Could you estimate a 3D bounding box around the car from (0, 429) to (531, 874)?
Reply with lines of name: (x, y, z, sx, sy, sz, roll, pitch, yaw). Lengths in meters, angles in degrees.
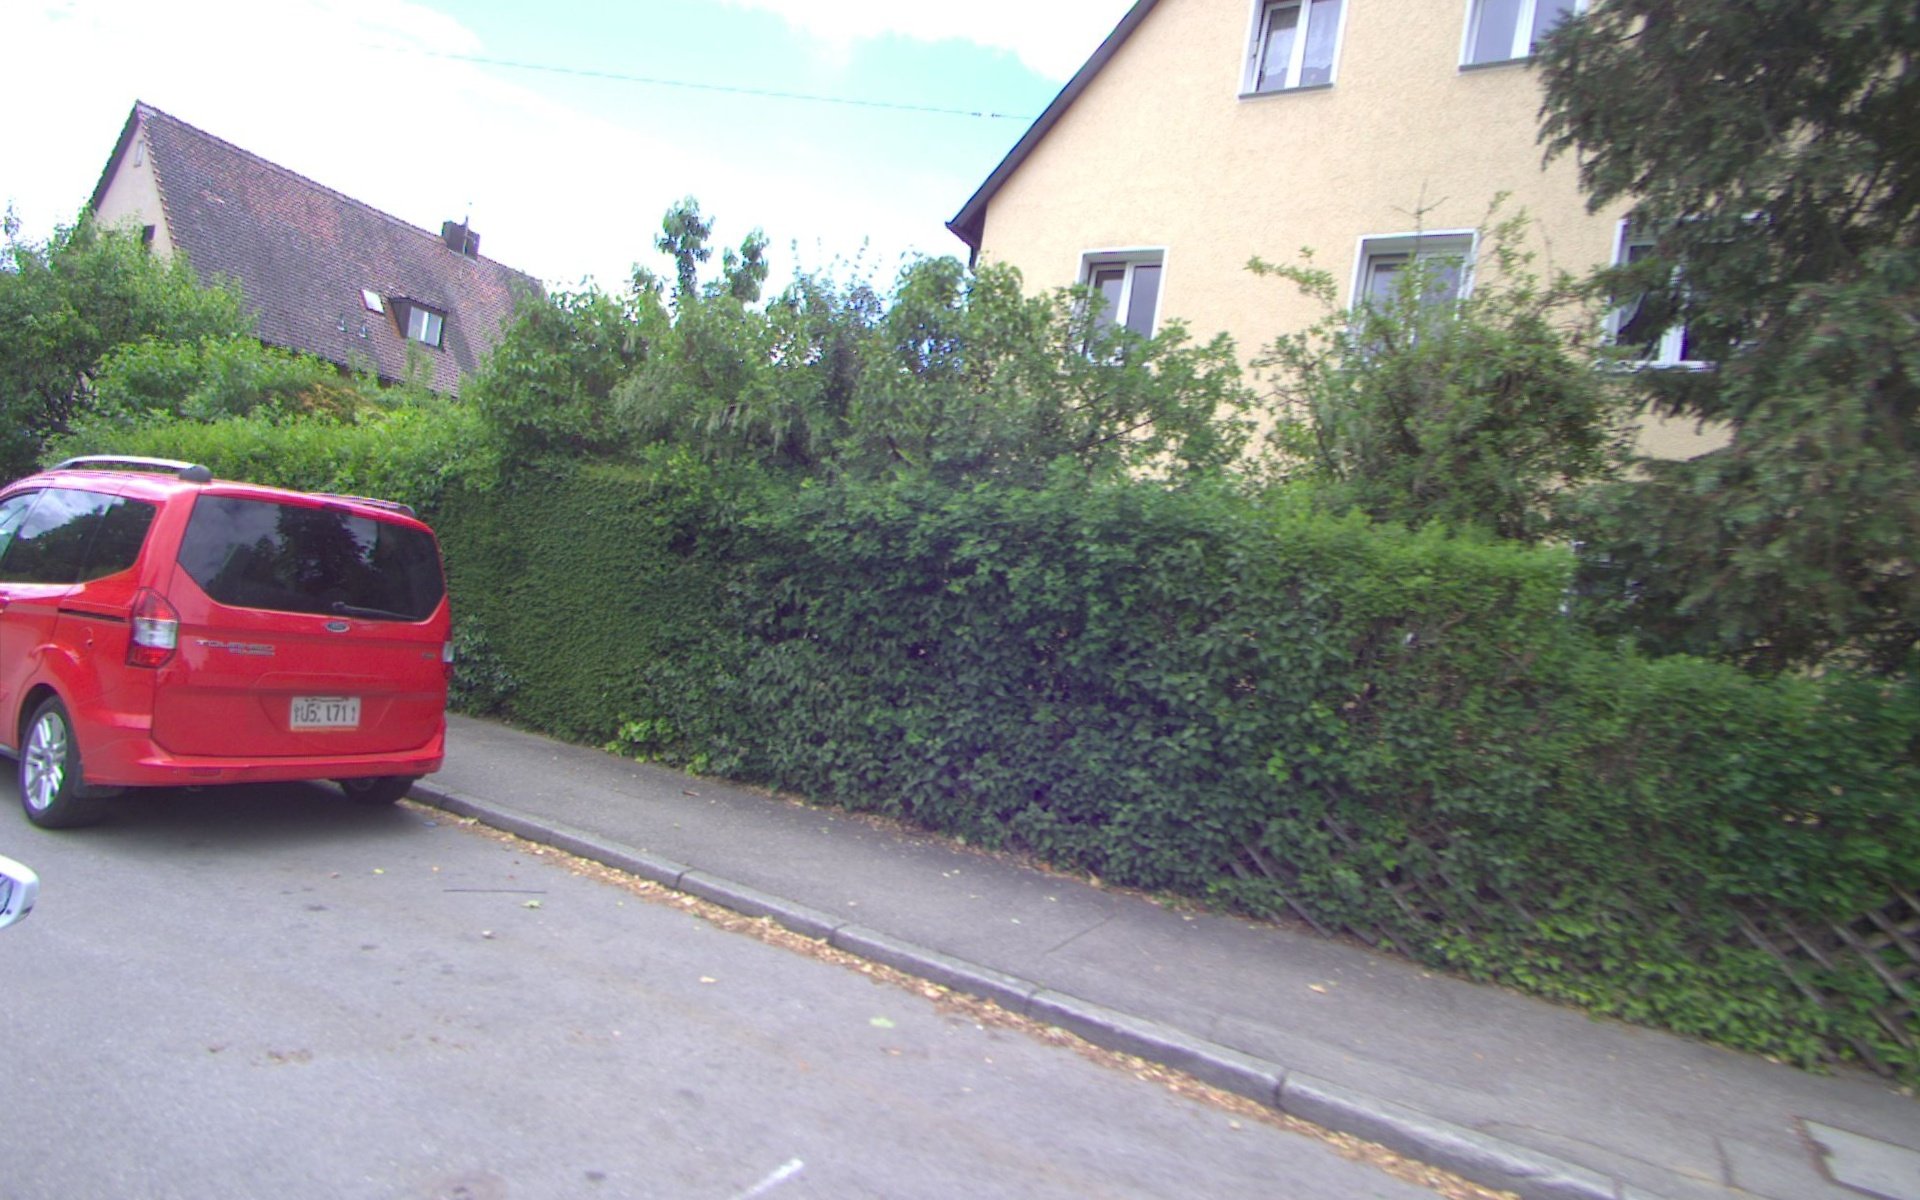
car: (-5.100, 0.053, 6.152, 4.863, 1.818, 1.765, 7, -1, 29)

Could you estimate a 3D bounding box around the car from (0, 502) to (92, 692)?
car: (-9.585, -0.290, 8.511, 4.191, 1.484, 1.718, 8, -1, 25)
